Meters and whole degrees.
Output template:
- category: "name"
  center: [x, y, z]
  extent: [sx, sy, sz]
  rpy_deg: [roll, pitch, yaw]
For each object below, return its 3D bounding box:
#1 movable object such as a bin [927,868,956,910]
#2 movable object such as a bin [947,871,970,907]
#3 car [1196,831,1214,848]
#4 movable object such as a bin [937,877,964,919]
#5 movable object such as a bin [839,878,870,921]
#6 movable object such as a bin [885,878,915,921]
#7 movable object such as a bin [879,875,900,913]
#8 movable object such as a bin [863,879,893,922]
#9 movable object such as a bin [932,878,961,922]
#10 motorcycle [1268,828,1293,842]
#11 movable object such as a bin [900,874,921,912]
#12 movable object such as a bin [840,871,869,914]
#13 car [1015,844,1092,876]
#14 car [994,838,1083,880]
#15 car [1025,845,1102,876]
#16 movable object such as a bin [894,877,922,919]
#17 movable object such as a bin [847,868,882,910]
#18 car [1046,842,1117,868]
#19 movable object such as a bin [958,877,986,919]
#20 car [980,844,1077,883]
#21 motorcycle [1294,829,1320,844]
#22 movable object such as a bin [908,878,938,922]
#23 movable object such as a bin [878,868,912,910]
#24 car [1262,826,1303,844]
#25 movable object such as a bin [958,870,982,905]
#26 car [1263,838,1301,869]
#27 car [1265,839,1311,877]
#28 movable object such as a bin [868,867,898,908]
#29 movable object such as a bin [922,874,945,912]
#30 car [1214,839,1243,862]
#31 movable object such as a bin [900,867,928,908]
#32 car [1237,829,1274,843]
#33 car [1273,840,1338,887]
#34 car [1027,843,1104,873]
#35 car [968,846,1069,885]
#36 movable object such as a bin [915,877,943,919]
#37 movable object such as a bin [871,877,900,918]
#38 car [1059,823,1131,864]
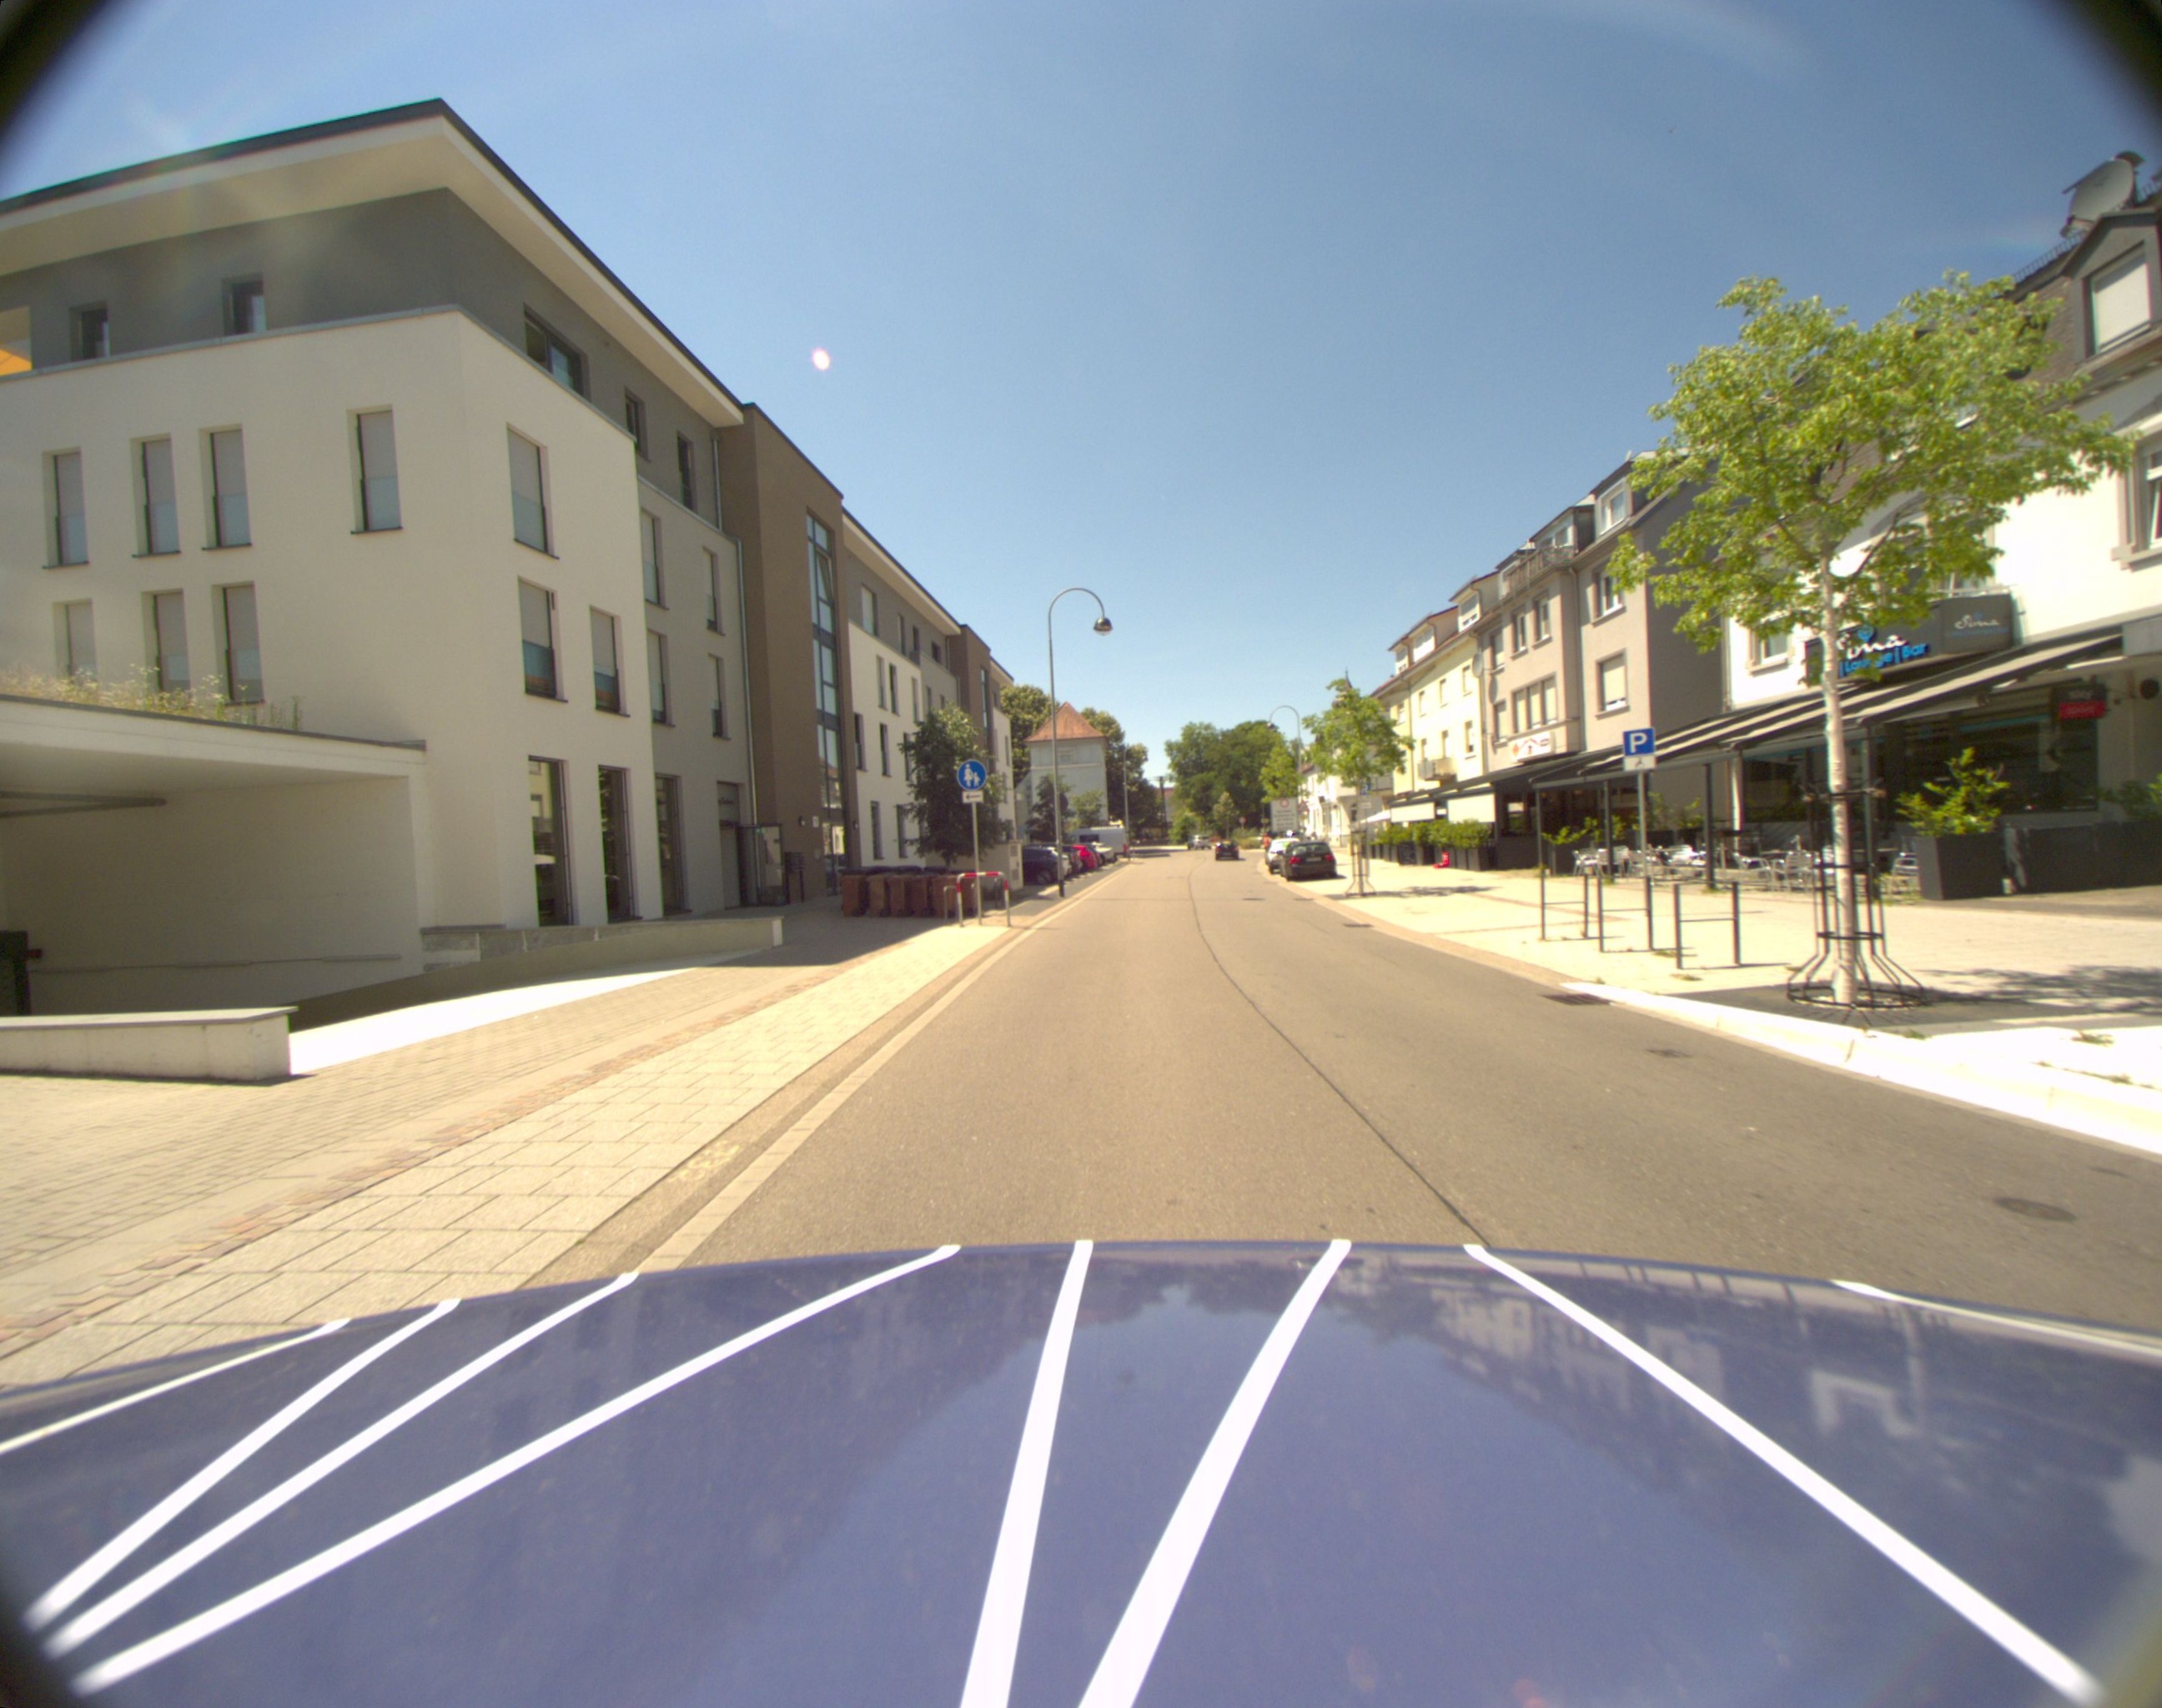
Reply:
- category: "movable object such as a bin"
  center: [-3.617, 0.901, 19.739]
  extent: [0.570, 1.054, 0.560]
  rpy_deg: [0, 2, 8]
- category: "movable object such as a bin"
  center: [-3.259, 0.937, 20.221]
  extent: [0.513, 0.926, 0.465]
  rpy_deg: [-1, 2, 1]
- category: "car"
  center: [12.645, -1.477, 77.236]
  extent: [1.684, 1.476, 4.087]
  rpy_deg: [-2, 3, 11]
- category: "movable object such as a bin"
  center: [-3.014, 1.018, 17.581]
  extent: [0.468, 0.925, 0.528]
  rpy_deg: [-1, 2, 7]
- category: "movable object such as a bin"
  center: [-5.167, 1.034, 17.353]
  extent: [0.474, 0.925, 0.528]
  rpy_deg: [-1, 2, 7]
- category: "movable object such as a bin"
  center: [-4.065, 1.025, 17.111]
  extent: [0.474, 0.925, 0.528]
  rpy_deg: [-1, 2, 7]
- category: "movable object such as a bin"
  center: [-4.801, 0.998, 19.035]
  extent: [0.483, 0.918, 0.437]
  rpy_deg: [-1, 2, -16]
- category: "movable object such as a bin"
  center: [-4.572, 1.035, 17.154]
  extent: [0.474, 0.925, 0.528]
  rpy_deg: [-1, 2, 7]
- category: "movable object such as a bin"
  center: [-2.997, 1.026, 16.976]
  extent: [0.474, 0.925, 0.528]
  rpy_deg: [-1, 2, 7]
- category: "motorcycle"
  center: [20.177, -1.961, 76.886]
  extent: [2.321, 1.317, 0.726]
  rpy_deg: [-2, 2, 9]
- category: "movable object such as a bin"
  center: [-4.278, 0.980, 19.062]
  extent: [0.483, 0.918, 0.437]
  rpy_deg: [-1, 2, -16]
- category: "movable object such as a bin"
  center: [-5.607, 0.946, 18.823]
  extent: [0.570, 1.036, 0.560]
  rpy_deg: [-1, 2, -7]
- category: "car"
  center: [-1.344, 0.284, 38.050]
  extent: [3.615, 1.454, 1.617]
  rpy_deg: [-1, 1, 6]
- category: "car"
  center: [-1.915, 0.216, 34.960]
  extent: [3.816, 1.776, 1.841]
  rpy_deg: [-2, 1, 5]
- category: "car"
  center: [-0.891, 0.338, 40.148]
  extent: [3.816, 1.454, 1.652]
  rpy_deg: [-2, 1, 6]
- category: "movable object such as a bin"
  center: [-4.032, 1.016, 17.706]
  extent: [0.466, 0.925, 0.522]
  rpy_deg: [-1, 2, 7]
- category: "movable object such as a bin"
  center: [-5.629, 0.906, 19.773]
  extent: [0.647, 1.054, 0.625]
  rpy_deg: [0, 2, 8]
- category: "car"
  center: [0.063, 0.029, 49.797]
  extent: [4.379, 1.521, 1.720]
  rpy_deg: [-2, 1, 7]
- category: "movable object such as a bin"
  center: [-2.503, 1.015, 17.473]
  extent: [0.474, 0.925, 0.528]
  rpy_deg: [-1, 2, 7]
- category: "car"
  center: [-2.175, 0.378, 32.119]
  extent: [3.816, 1.474, 1.778]
  rpy_deg: [-2, 1, 5]
- category: "motorcycle"
  center: [21.888, -1.671, 73.534]
  extent: [2.321, 1.317, 0.726]
  rpy_deg: [-2, 2, 9]
- category: "movable object such as a bin"
  center: [-3.541, 1.029, 17.052]
  extent: [0.474, 0.925, 0.528]
  rpy_deg: [-1, 2, 7]
- category: "movable object such as a bin"
  center: [-4.813, 0.902, 19.715]
  extent: [0.647, 1.054, 0.625]
  rpy_deg: [0, 2, 8]
- category: "car"
  center: [20.937, -1.941, 79.070]
  extent: [4.076, 1.729, 1.816]
  rpy_deg: [-2, 1, 12]
- category: "movable object such as a bin"
  center: [-3.029, 0.925, 20.819]
  extent: [0.562, 0.926, 0.465]
  rpy_deg: [-1, 2, 1]
- category: "car"
  center: [10.820, -0.065, 41.180]
  extent: [1.684, 1.475, 4.343]
  rpy_deg: [-4, 1, 12]
- category: "car"
  center: [9.182, 0.134, 33.937]
  extent: [1.684, 1.475, 3.771]
  rpy_deg: [-4, 1, 12]
- category: "movable object such as a bin"
  center: [-5.333, 0.894, 20.477]
  extent: [0.648, 1.054, 0.625]
  rpy_deg: [-1, 2, -5]
- category: "movable object such as a bin"
  center: [-3.684, 0.970, 18.979]
  extent: [0.517, 0.918, 0.437]
  rpy_deg: [-1, 2, -16]
- category: "car"
  center: [10.317, -0.266, 53.093]
  extent: [1.618, 1.445, 3.868]
  rpy_deg: [-1, 1, 16]
- category: "movable object such as a bin"
  center: [-4.470, 0.885, 20.360]
  extent: [0.648, 1.054, 0.625]
  rpy_deg: [-1, 2, -5]
- category: "car"
  center: [20.492, -2.130, 88.978]
  extent: [3.944, 1.528, 1.832]
  rpy_deg: [-3, 1, -27]
- category: "car"
  center: [8.349, 0.288, 28.561]
  extent: [1.757, 1.437, 4.451]
  rpy_deg: [-5, 1, 10]
- category: "car"
  center: [-0.885, 0.218, 44.600]
  extent: [4.357, 1.542, 1.652]
  rpy_deg: [-2, 1, 4]
- category: "car"
  center: [-2.424, 0.447, 29.933]
  extent: [3.663, 1.437, 1.536]
  rpy_deg: [-1, 2, 9]
- category: "movable object such as a bin"
  center: [-3.521, 1.021, 17.637]
  extent: [0.466, 0.925, 0.522]
  rpy_deg: [-1, 2, 7]
- category: "movable object such as a bin"
  center: [-4.563, 1.007, 17.771]
  extent: [0.466, 0.925, 0.522]
  rpy_deg: [-1, 2, 7]
- category: "car"
  center: [1.057, -0.755, 54.513]
  extent: [4.864, 2.720, 1.851]
  rpy_deg: [-2, 2, 7]
